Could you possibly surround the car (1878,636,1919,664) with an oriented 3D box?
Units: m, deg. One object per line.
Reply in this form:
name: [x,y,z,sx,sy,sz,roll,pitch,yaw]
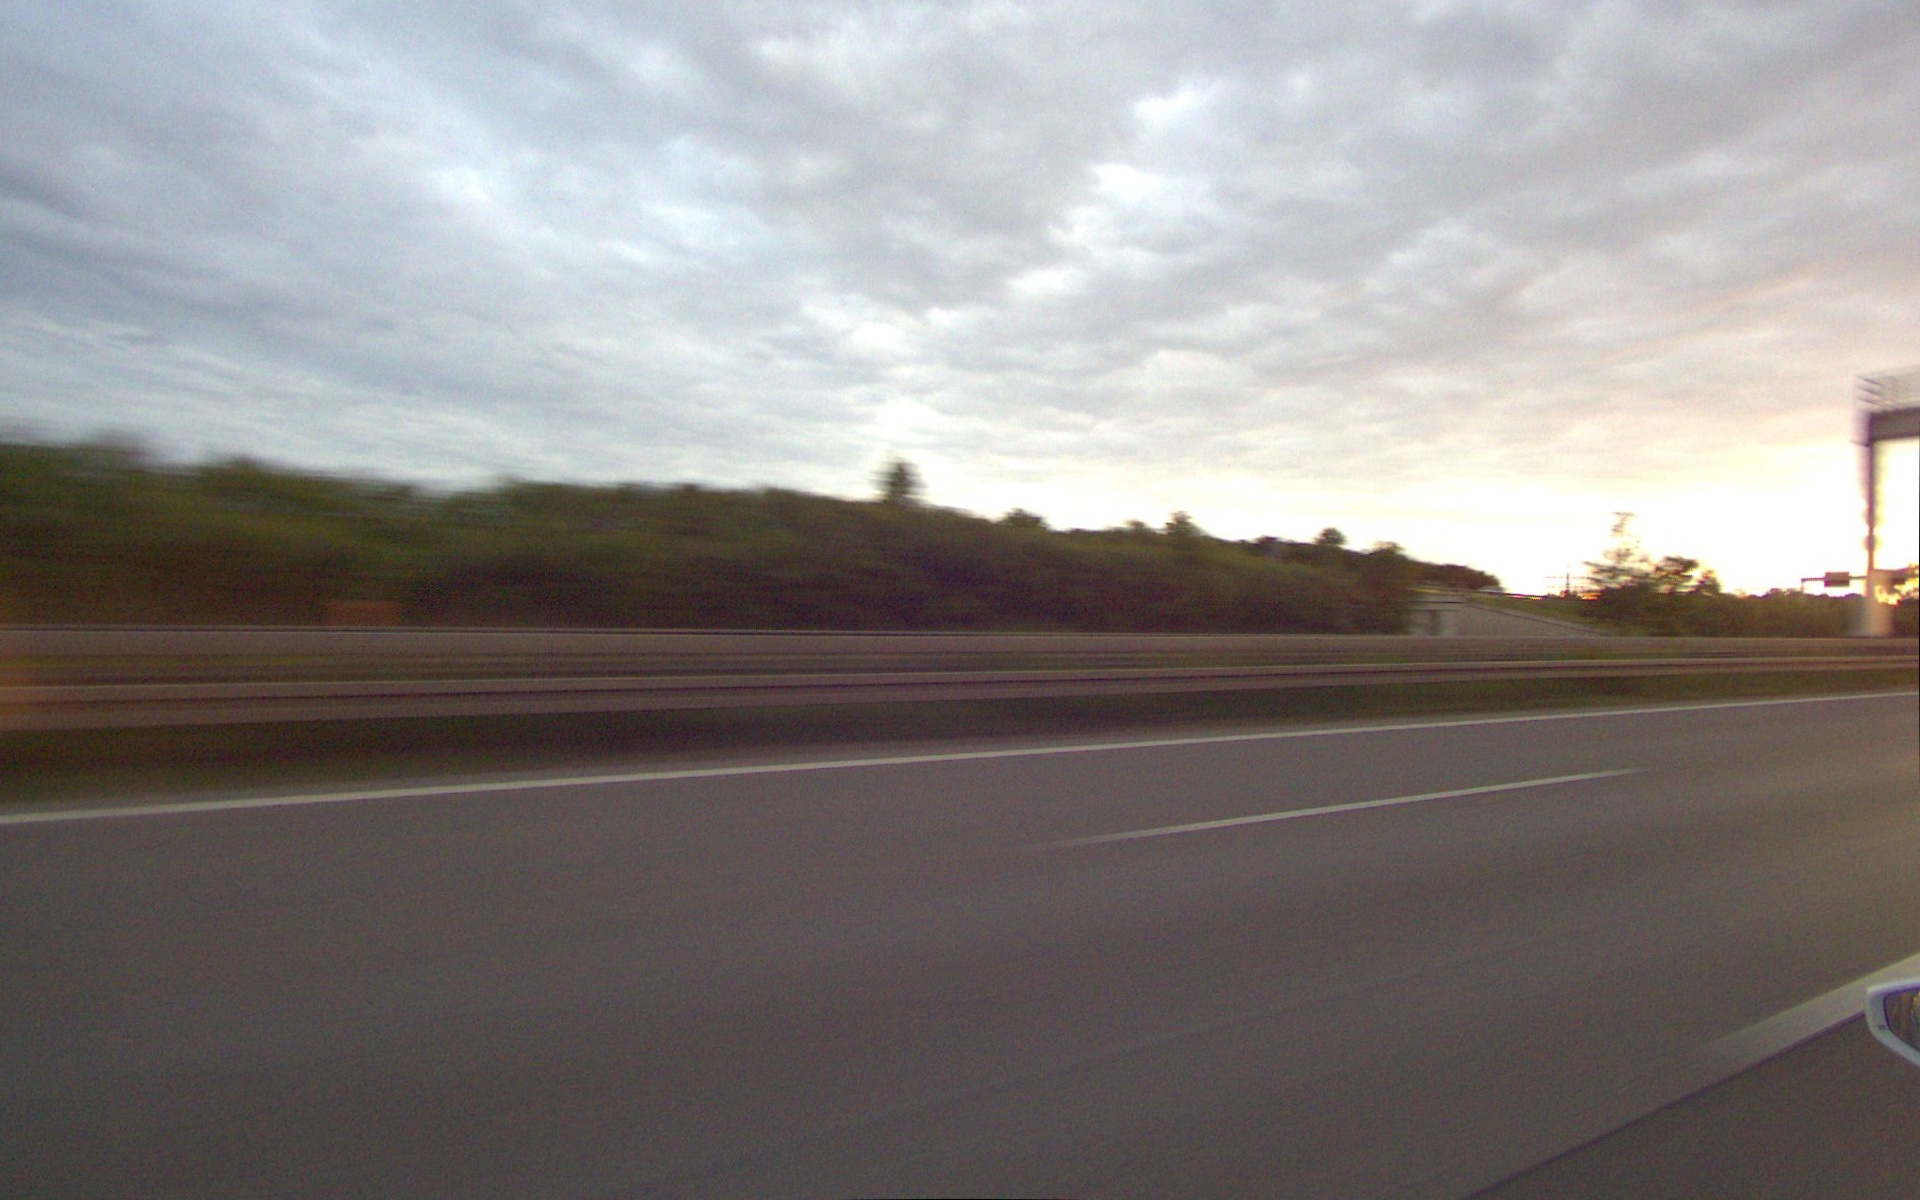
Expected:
car: [53.523,2.839,56.427,4.378,1.420,1.681,3,0,-31]
